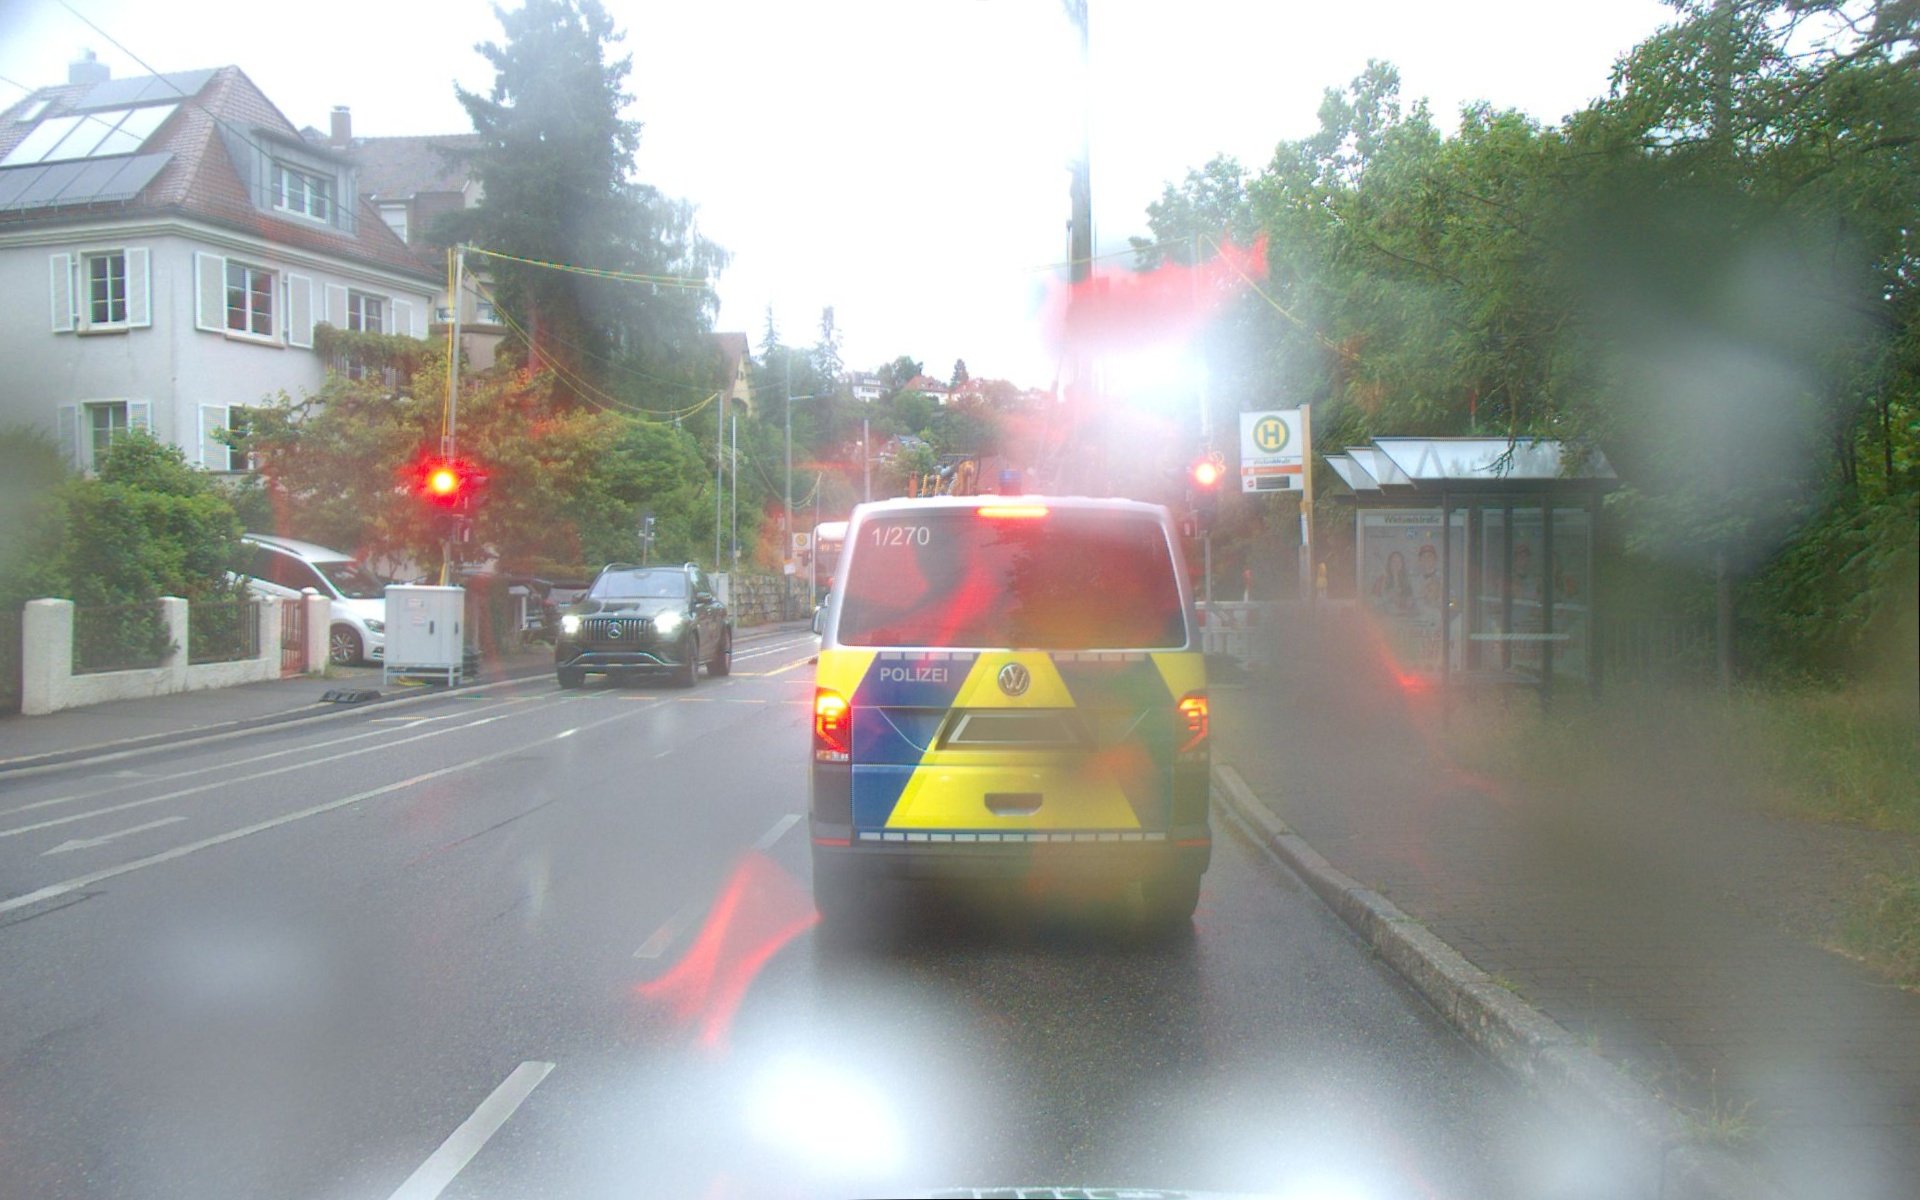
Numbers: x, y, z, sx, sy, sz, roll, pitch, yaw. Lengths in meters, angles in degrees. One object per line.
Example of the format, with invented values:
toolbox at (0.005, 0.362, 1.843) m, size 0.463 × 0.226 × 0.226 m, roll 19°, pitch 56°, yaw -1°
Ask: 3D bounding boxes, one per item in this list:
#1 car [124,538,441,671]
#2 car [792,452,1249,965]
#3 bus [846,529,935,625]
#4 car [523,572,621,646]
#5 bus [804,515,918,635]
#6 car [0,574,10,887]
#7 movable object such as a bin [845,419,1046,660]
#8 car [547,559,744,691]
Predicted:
car at (-11.212, 0.057, 27.486) m, size 4.532 × 2.042 × 1.902 m, roll 1°, pitch 0°, yaw 11°
car at (0.224, 0.437, 8.817) m, size 1.855 × 2.086 × 3.999 m, roll 1°, pitch 0°, yaw -1°
bus at (-2.812, -0.935, 70.721) m, size 2.782 × 3.688 × 12.009 m, roll 1°, pitch 0°, yaw 2°
car at (-8.915, 0.178, 37.824) m, size 1.739 × 1.512 × 3.721 m, roll 1°, pitch 2°, yaw -20°
bus at (-3.308, -0.851, 58.841) m, size 2.782 × 3.783 × 12.009 m, roll 1°, pitch 0°, yaw 2°
car at (-5.417, 0.629, 5.966) m, size 1.728 × 1.488 × 3.886 m, roll 1°, pitch 1°, yaw 0°
movable object such as a bin at (-0.170, -1.091, 31.635) m, size 2.770 × 4.250 × 4.384 m, roll 1°, pitch 0°, yaw 14°
car at (-4.613, 0.319, 24.953) m, size 1.938 × 1.778 × 4.554 m, roll 1°, pitch 1°, yaw 2°
